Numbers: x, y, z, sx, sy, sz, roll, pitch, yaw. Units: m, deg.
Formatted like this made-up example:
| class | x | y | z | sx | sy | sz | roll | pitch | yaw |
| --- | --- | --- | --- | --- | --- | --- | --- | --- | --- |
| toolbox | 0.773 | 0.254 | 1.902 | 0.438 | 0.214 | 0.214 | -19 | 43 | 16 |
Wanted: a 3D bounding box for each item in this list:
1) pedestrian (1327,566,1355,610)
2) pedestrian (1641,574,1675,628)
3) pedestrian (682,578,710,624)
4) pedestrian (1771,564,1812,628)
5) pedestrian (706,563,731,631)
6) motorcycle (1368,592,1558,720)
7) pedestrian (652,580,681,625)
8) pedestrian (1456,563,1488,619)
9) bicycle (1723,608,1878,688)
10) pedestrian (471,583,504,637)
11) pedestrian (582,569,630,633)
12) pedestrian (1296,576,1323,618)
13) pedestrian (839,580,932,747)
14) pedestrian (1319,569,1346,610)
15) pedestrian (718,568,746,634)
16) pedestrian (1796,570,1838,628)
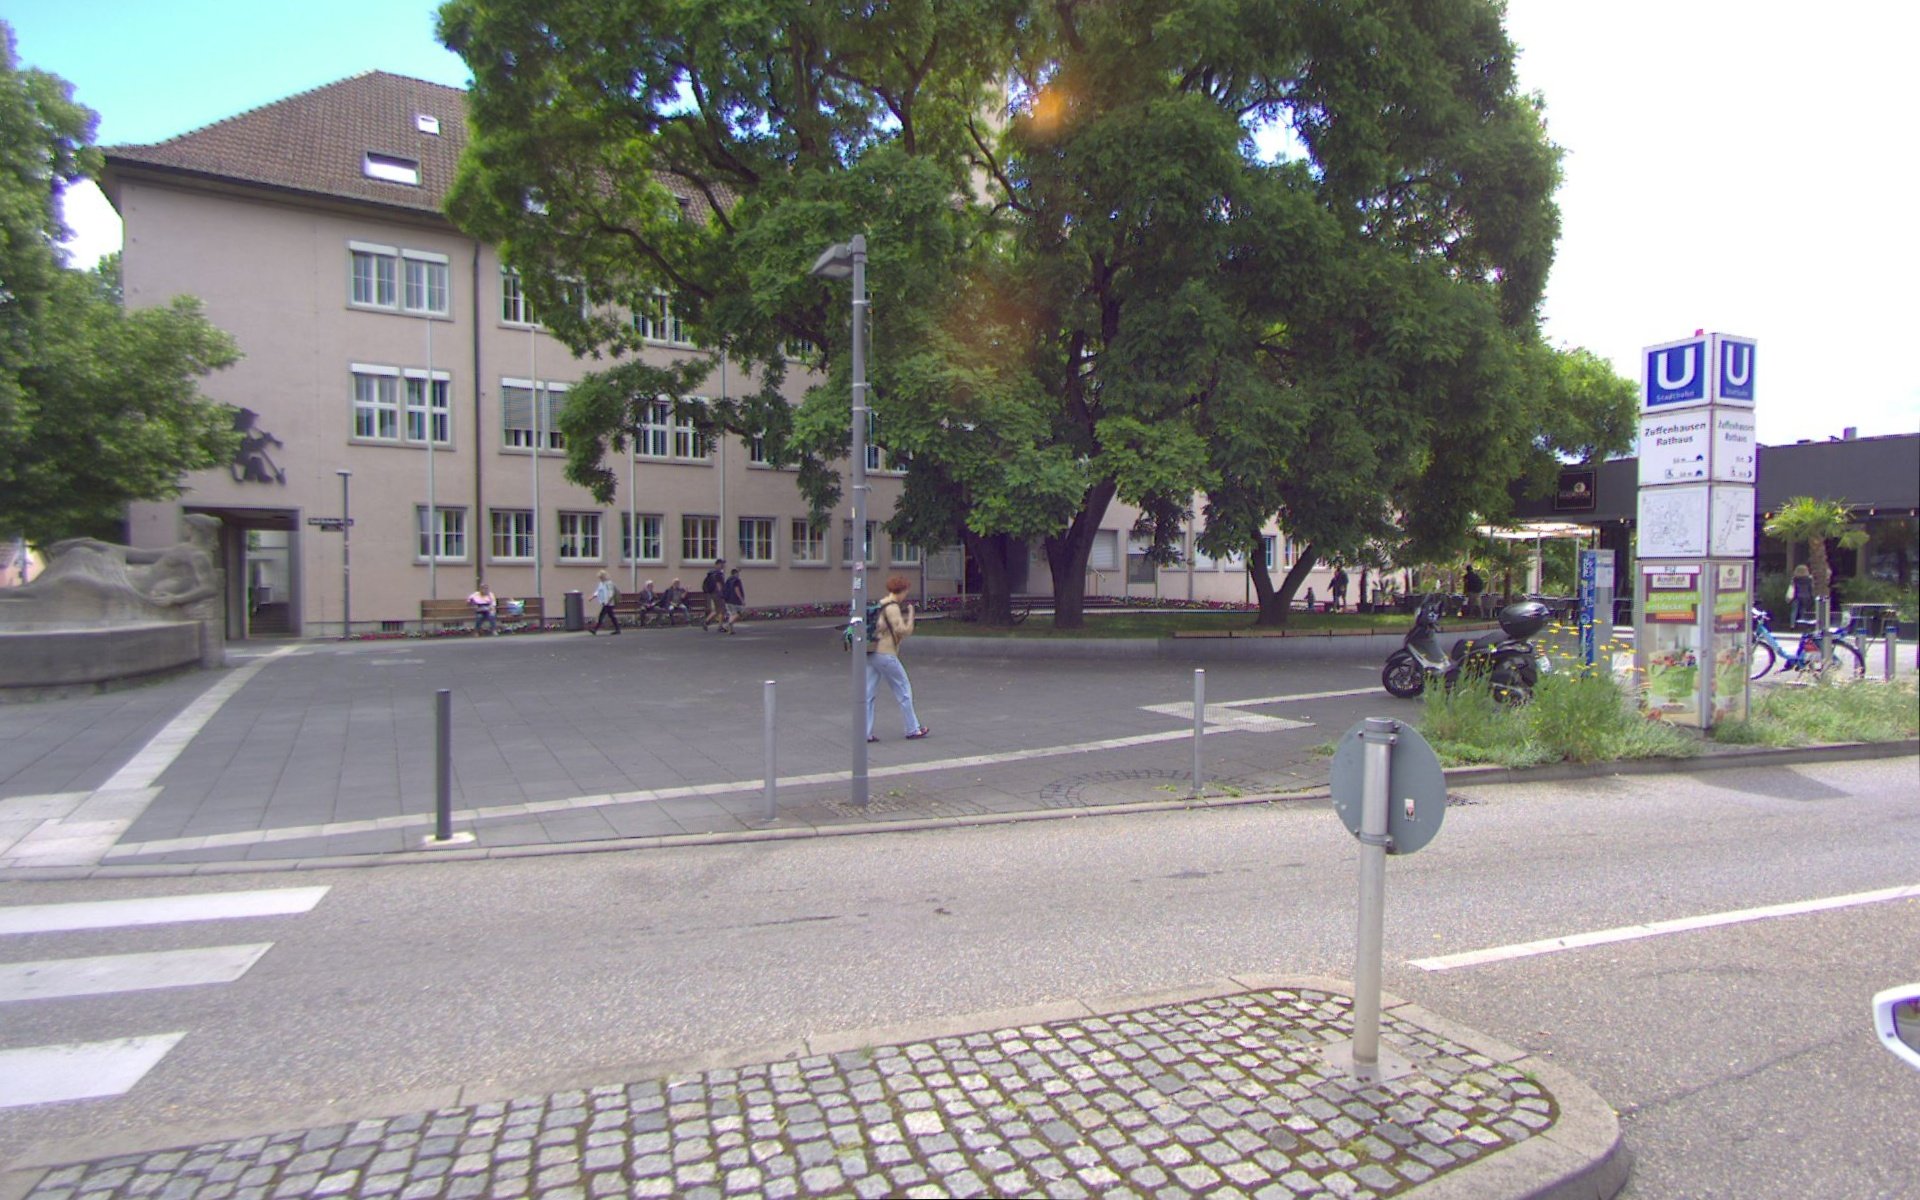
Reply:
| class | x | y | z | sx | sy | sz | roll | pitch | yaw |
| --- | --- | --- | --- | --- | --- | --- | --- | --- | --- |
| pedestrian | 14.526 | -0.435 | 38.322 | 0.629 | 1.649 | 0.783 | 0 | 0 | -28 |
| pedestrian | 18.367 | 0.031 | 26.445 | 0.611 | 1.398 | 0.576 | 0 | 0 | -39 |
| pedestrian | -7.302 | 0.036 | 27.766 | 0.478 | 1.238 | 0.581 | 2 | 0 | 20 |
| pedestrian | 21.484 | -0.096 | 25.959 | 0.571 | 1.640 | 0.616 | 1 | 0 | 8 |
| pedestrian | -5.945 | -0.072 | 24.731 | 0.564 | 1.630 | 0.436 | 1 | 4 | -12 |
| motorcycle | 5.883 | 0.597 | 11.919 | 0.575 | 1.307 | 2.126 | -2 | 3 | -24 |
| pedestrian | -7.942 | 0.063 | 27.155 | 0.478 | 1.198 | 0.581 | 2 | 0 | 20 |
| pedestrian | 14.882 | -0.264 | 29.218 | 0.576 | 1.598 | 0.611 | 0 | 0 | -31 |
| bicycle | 11.611 | 0.638 | 13.937 | 0.492 | 1.010 | 1.609 | 1 | 0 | -20 |
| pedestrian | -11.616 | 0.248 | 24.695 | 0.691 | 1.279 | 0.577 | 2 | 0 | -24 |
| pedestrian | -8.589 | 0.036 | 24.376 | 0.687 | 1.512 | 0.814 | 2 | 0 | 26 |
| pedestrian | 13.479 | -0.100 | 38.732 | 0.778 | 1.598 | 0.632 | 0 | 0 | -27 |
| pedestrian | -0.725 | 0.587 | 9.740 | 0.776 | 1.535 | 0.549 | -1 | 3 | -21 |
| pedestrian | 14.661 | -0.407 | 39.558 | 0.629 | 1.598 | 0.783 | 0 | 0 | -28 |
| pedestrian | -5.500 | 0.021 | 24.229 | 0.627 | 1.544 | 0.575 | 1 | 4 | -12 |
| pedestrian | 22.334 | -0.014 | 26.185 | 0.606 | 1.483 | 0.580 | 1 | 0 | -19 |
